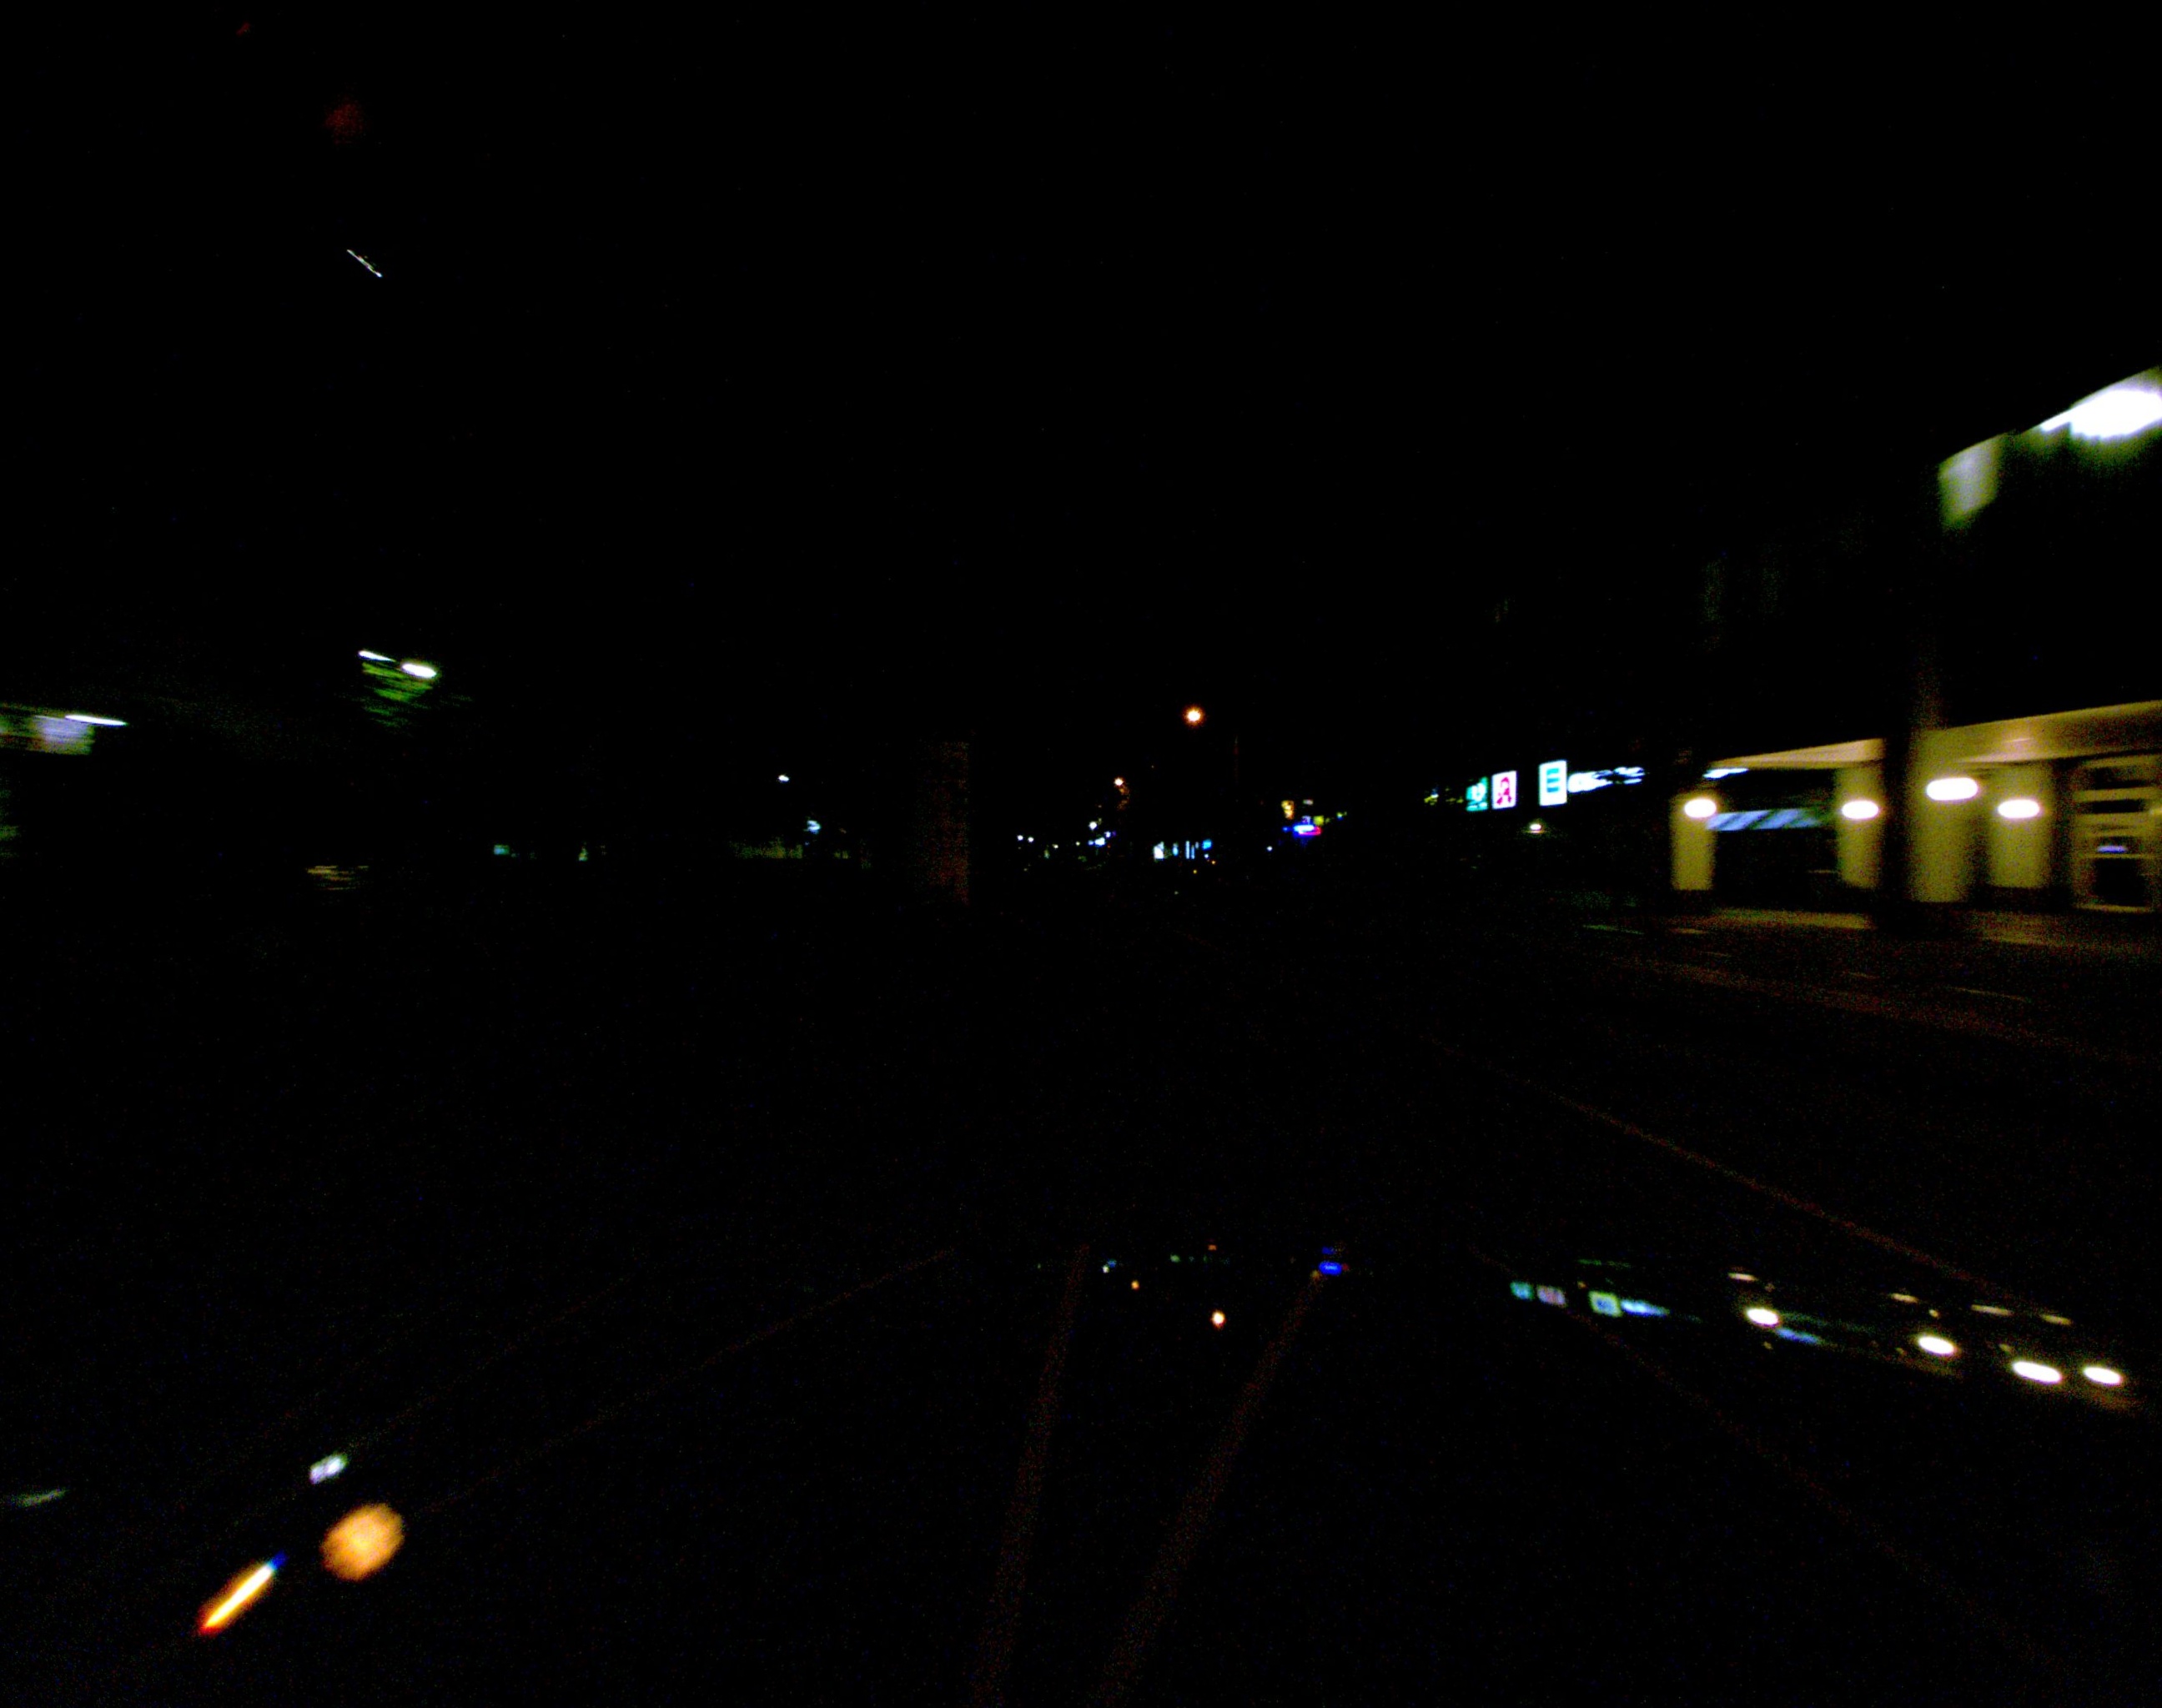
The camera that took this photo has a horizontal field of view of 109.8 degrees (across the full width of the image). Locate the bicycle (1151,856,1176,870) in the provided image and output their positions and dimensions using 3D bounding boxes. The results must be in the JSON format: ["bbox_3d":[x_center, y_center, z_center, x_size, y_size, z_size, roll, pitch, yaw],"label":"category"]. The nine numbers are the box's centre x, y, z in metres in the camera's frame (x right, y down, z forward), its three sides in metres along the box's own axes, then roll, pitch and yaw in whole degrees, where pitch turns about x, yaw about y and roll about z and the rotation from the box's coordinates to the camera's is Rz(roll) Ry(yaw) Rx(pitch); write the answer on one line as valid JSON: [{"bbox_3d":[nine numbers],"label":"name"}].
[{"bbox_3d":[6.357,0.707,58.478,1.856,0.994,0.532,-2,1,-3],"label":"bicycle"}]

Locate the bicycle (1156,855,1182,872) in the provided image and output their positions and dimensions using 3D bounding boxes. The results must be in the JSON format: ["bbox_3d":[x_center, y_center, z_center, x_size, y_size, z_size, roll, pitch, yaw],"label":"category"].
[{"bbox_3d":[6.559,0.704,56.884,1.856,1.246,0.532,0,1,-3],"label":"bicycle"}]

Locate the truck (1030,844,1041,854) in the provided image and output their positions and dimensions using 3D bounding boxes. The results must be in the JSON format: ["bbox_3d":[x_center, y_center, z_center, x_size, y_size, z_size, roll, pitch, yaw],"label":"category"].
[{"bbox_3d":[-10.506,-1.106,175.284,2.110,2.230,6.287,0,1,2],"label":"truck"}]

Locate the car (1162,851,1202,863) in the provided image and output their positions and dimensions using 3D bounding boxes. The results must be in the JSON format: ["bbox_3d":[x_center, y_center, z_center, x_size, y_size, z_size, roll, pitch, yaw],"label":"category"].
[{"bbox_3d":[11.737,0.342,88.235,4.341,1.389,1.802,0,1,-4],"label":"car"}]

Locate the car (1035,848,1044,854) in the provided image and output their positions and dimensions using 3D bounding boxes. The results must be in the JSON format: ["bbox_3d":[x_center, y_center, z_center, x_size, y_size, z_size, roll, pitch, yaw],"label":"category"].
[{"bbox_3d":[-10.369,-0.735,190.214,1.737,1.493,4.000,0,1,2],"label":"car"}]

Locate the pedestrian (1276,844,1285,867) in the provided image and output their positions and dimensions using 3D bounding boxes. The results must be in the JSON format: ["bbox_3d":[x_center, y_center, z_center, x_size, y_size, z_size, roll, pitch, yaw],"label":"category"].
[{"bbox_3d":[13.848,0.088,52.753,0.479,1.627,0.632,0,1,-2],"label":"pedestrian"}]

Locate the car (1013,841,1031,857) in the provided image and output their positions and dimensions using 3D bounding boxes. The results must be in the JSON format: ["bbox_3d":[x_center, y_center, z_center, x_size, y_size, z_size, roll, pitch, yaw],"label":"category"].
[{"bbox_3d":[-8.731,-0.726,112.778,2.141,2.313,5.146,0,1,-10],"label":"car"}]

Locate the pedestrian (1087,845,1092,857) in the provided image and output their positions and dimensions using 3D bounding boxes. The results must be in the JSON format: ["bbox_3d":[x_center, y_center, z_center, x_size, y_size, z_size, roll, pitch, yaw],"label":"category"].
[{"bbox_3d":[1.363,-0.410,115.498,0.720,1.796,0.716,0,1,-3],"label":"pedestrian"}]

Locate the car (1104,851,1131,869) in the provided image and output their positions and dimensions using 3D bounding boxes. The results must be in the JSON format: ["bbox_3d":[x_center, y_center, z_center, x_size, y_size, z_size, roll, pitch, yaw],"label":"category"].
[{"bbox_3d":[3.164,0.533,66.474,1.811,1.417,4.919,-2,1,-3],"label":"car"}]

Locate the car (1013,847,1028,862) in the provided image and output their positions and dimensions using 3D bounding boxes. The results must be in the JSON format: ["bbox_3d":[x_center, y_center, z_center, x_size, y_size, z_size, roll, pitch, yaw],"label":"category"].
[{"bbox_3d":[-7.452,0.045,94.417,1.794,1.811,4.577,0,1,-4],"label":"car"}]

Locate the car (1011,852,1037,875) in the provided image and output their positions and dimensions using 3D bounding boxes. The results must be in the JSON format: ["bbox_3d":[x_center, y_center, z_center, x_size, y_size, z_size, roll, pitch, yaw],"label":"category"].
[{"bbox_3d":[-3.979,0.642,53.401,1.694,1.528,4.014,1,1,-2],"label":"car"}]

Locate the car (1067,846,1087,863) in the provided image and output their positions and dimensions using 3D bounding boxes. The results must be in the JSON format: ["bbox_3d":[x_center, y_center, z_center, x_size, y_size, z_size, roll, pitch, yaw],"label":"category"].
[{"bbox_3d":[-0.543,0.036,96.469,1.858,2.075,5.086,-2,1,-8],"label":"car"}]

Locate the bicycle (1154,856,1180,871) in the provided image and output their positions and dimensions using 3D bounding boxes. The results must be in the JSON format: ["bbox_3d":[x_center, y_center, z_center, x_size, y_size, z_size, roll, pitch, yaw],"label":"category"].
[{"bbox_3d":[6.532,0.719,57.561,1.856,1.029,0.532,-2,1,-3],"label":"bicycle"}]

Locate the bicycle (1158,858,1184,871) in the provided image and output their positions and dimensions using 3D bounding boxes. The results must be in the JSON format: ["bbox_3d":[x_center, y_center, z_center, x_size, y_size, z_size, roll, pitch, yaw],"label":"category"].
[{"bbox_3d":[6.627,0.768,55.897,1.856,0.962,0.501,0,1,-3],"label":"bicycle"}]

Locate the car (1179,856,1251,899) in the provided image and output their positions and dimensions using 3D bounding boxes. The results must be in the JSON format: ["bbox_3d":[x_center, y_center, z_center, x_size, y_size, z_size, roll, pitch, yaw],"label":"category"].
[{"bbox_3d":[4.917,0.818,28.455,1.746,1.405,4.494,-1,1,-2],"label":"car"}]

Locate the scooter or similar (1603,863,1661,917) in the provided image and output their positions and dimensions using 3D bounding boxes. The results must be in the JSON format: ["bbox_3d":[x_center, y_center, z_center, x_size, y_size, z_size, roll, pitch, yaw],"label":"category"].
[{"bbox_3d":[13.164,0.845,18.197,0.388,1.214,1.343,0,1,0],"label":"scooter or similar"}]

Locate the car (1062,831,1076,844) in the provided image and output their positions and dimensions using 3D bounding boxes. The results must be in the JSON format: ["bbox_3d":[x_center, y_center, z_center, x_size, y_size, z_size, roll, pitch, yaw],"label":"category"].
[{"bbox_3d":[-1.874,-2.610,121.672,1.930,1.954,5.074,-2,1,-4],"label":"car"}]

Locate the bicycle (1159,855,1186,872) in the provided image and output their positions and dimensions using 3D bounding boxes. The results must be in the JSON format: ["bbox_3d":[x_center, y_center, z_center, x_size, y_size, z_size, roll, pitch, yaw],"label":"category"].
[{"bbox_3d":[6.668,0.692,55.355,1.856,1.159,0.532,0,1,-3],"label":"bicycle"}]

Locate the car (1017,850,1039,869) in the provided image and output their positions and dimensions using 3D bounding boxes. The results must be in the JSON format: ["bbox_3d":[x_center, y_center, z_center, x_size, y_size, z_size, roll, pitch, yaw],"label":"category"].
[{"bbox_3d":[-4.647,0.430,66.914,1.775,1.528,4.215,2,0,-2],"label":"car"}]

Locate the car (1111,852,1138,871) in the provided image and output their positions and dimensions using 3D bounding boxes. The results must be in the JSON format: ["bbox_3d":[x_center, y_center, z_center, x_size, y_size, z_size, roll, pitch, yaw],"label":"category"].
[{"bbox_3d":[3.501,0.560,61.123,1.727,1.420,3.975,-2,1,-3],"label":"car"}]

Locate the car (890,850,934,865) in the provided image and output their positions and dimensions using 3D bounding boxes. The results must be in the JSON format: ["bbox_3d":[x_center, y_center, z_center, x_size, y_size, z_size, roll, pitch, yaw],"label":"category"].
[{"bbox_3d":[-17.934,0.347,80.581,4.328,1.523,1.802,0,2,-4],"label":"car"}]

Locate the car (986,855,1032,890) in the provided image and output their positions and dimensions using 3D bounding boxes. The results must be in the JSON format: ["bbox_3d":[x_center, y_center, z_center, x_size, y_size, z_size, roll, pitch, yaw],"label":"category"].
[{"bbox_3d":[-3.157,0.781,34.060,1.769,1.406,4.806,1,0,-2],"label":"car"}]
